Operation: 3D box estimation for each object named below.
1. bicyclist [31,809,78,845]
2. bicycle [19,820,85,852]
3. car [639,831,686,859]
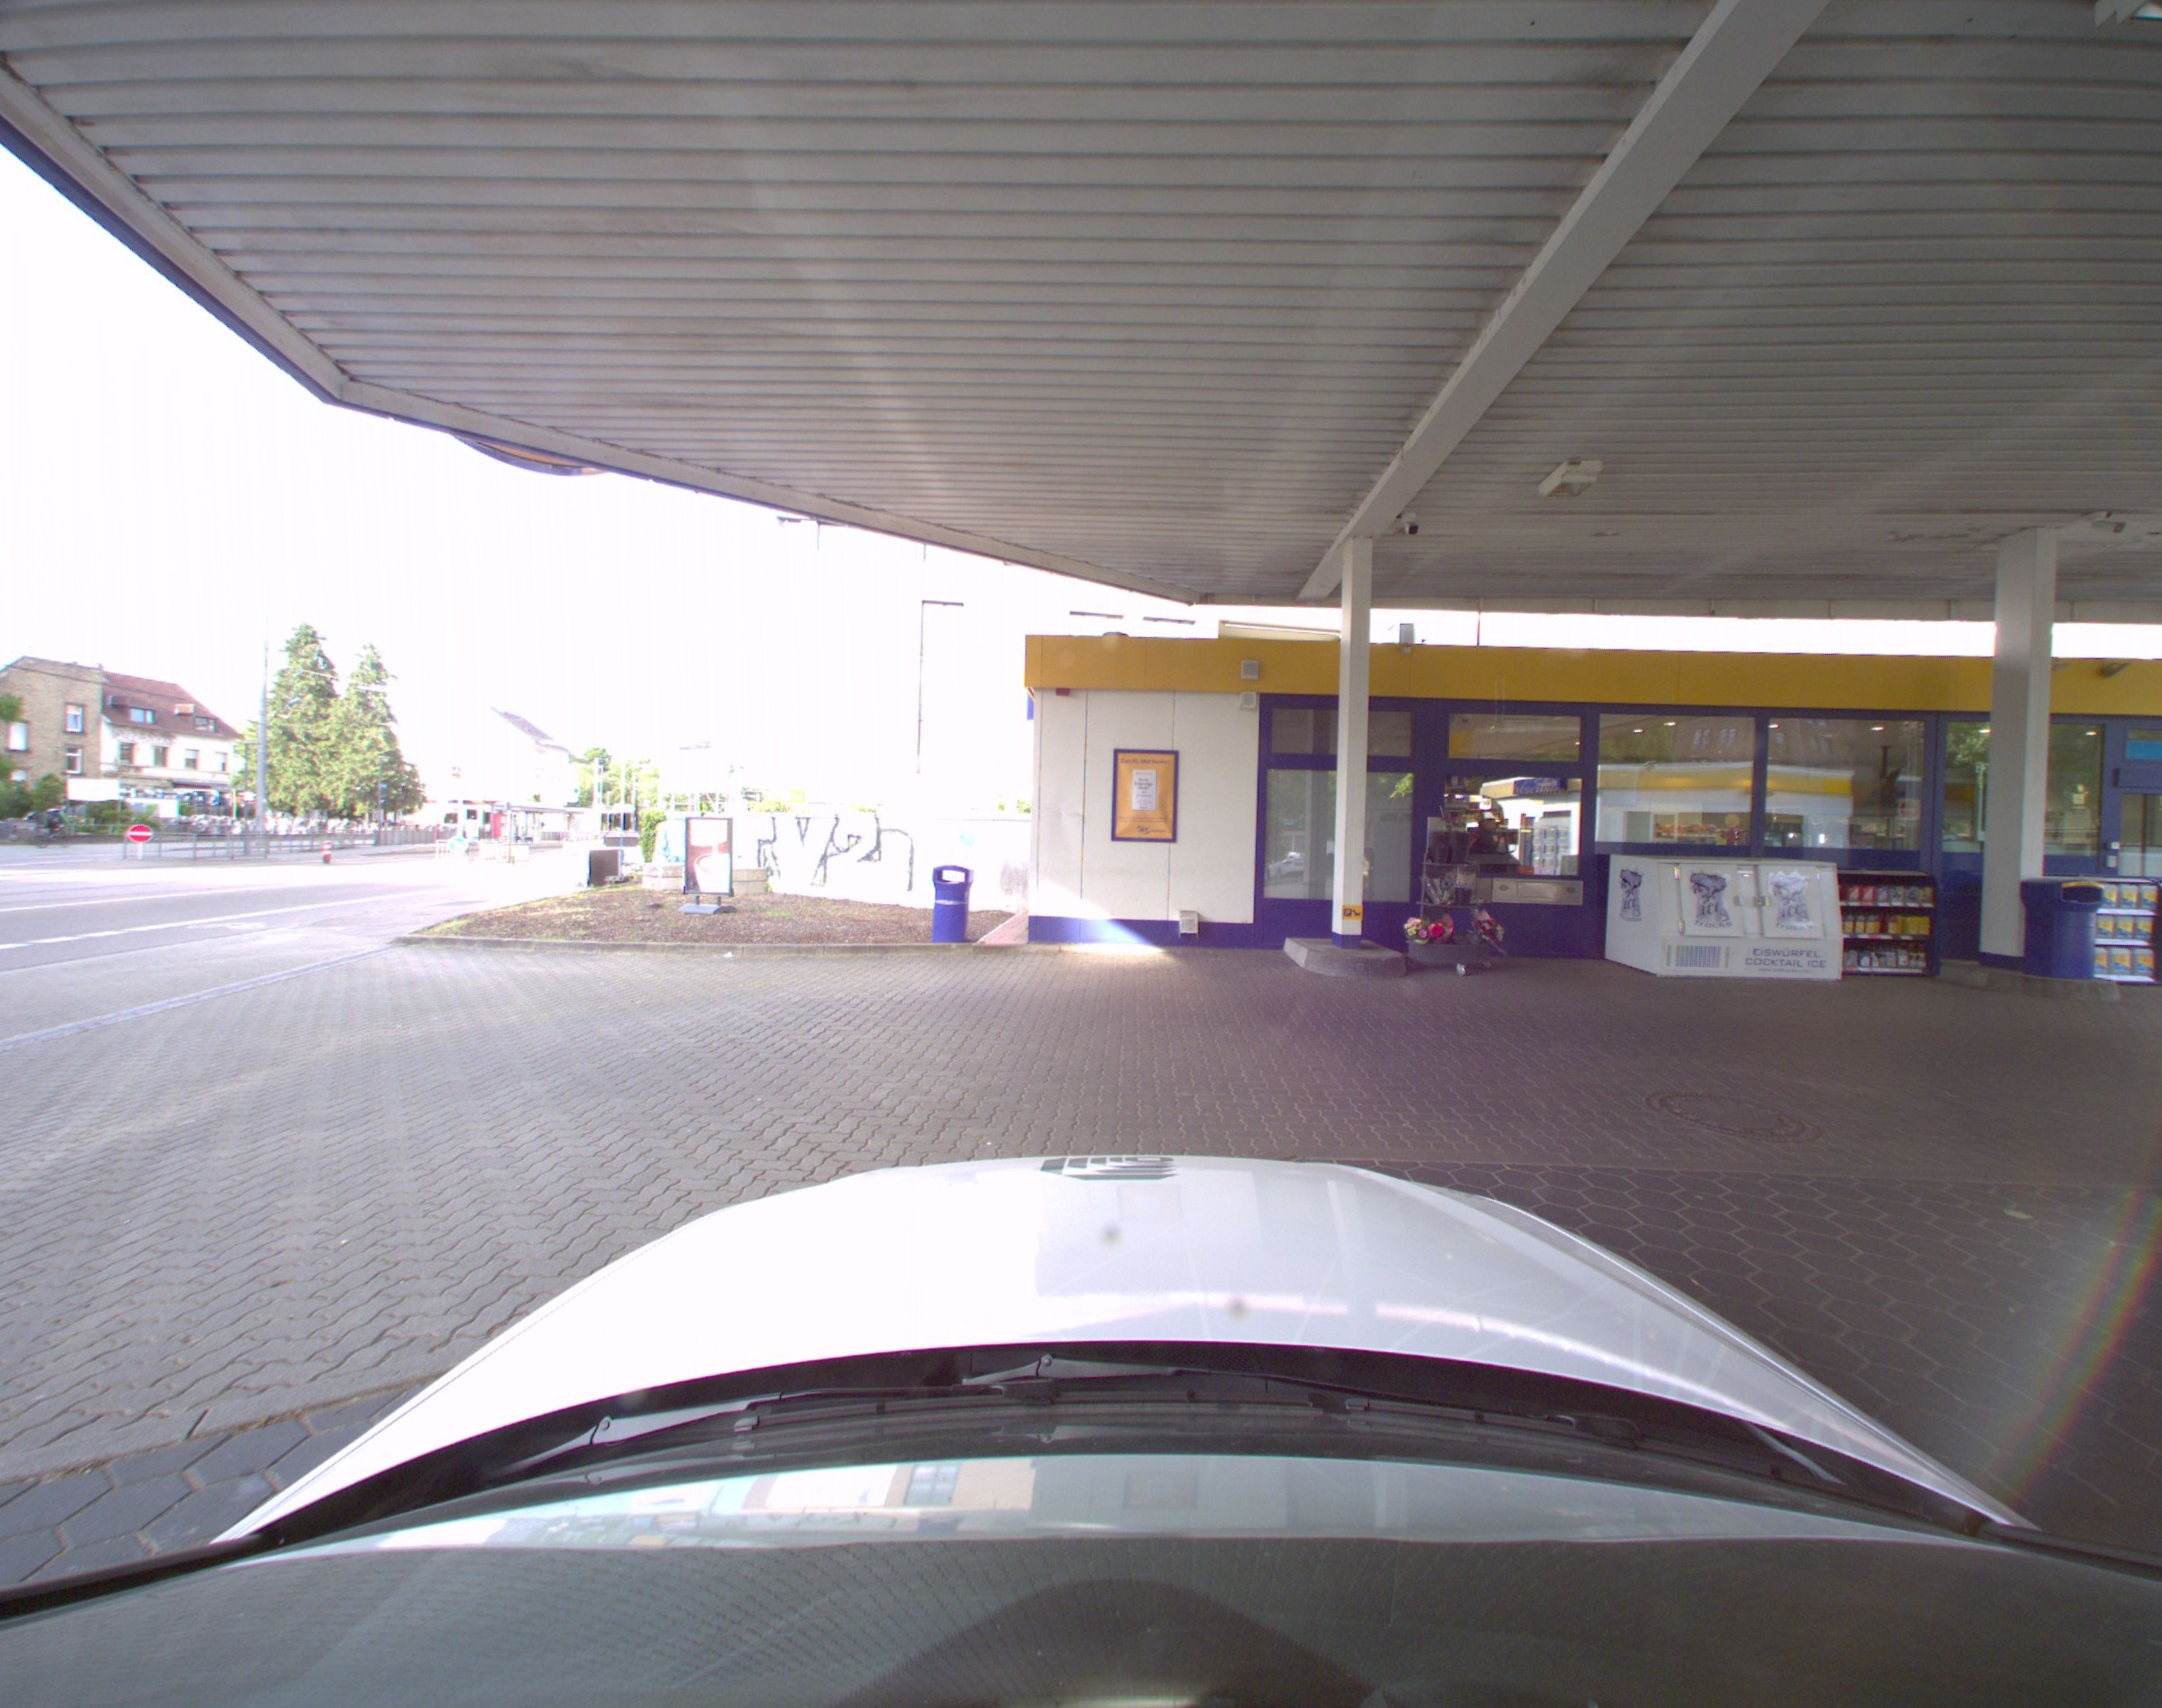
[{"bbox_3d":[-42.028,-1.113,33.349,0.752,1.409,0.915,5,0,-20],"label":"bicyclist"},{"bbox_3d":[-42.044,-0.755,33.317,0.752,1.203,1.809,5,0,-20],"label":"bicycle"},{"bbox_3d":[-24.836,-0.555,48.459,1.670,1.547,3.692,2,1,-15],"label":"car"}]
